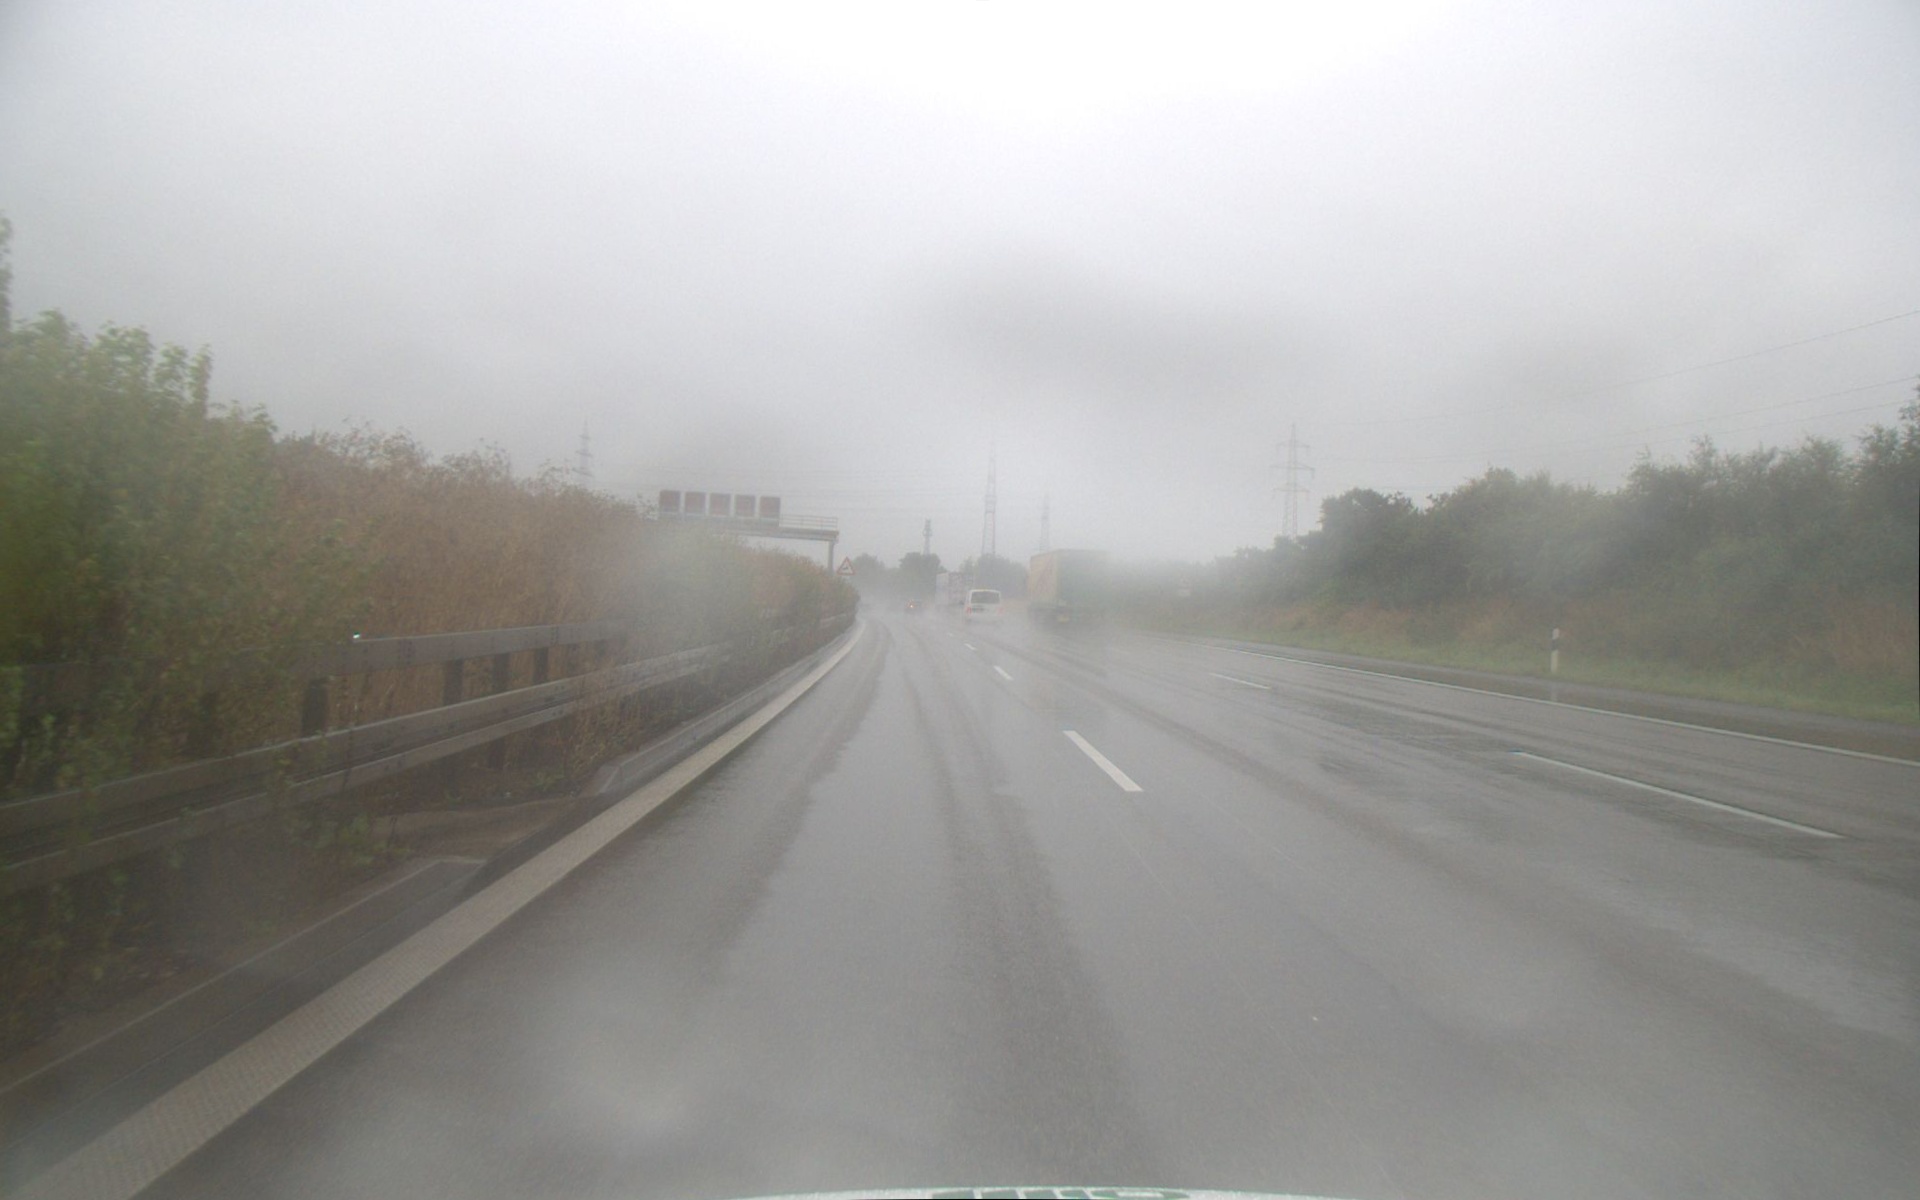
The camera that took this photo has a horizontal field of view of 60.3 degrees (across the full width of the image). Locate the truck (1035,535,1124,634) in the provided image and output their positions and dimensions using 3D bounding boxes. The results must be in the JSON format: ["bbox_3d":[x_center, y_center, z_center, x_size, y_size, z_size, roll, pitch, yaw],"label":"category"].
[{"bbox_3d":[6.123,-0.702,87.644,4.102,4.711,16.109,1,0,2],"label":"truck"}]

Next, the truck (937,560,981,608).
[{"bbox_3d":[-0.154,-1.540,156.647,3.170,4.387,8.825,1,0,-6],"label":"truck"}]

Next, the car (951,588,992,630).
[{"bbox_3d":[0.561,0.425,82.246,1.953,2.049,4.000,1,0,0],"label":"car"}]
